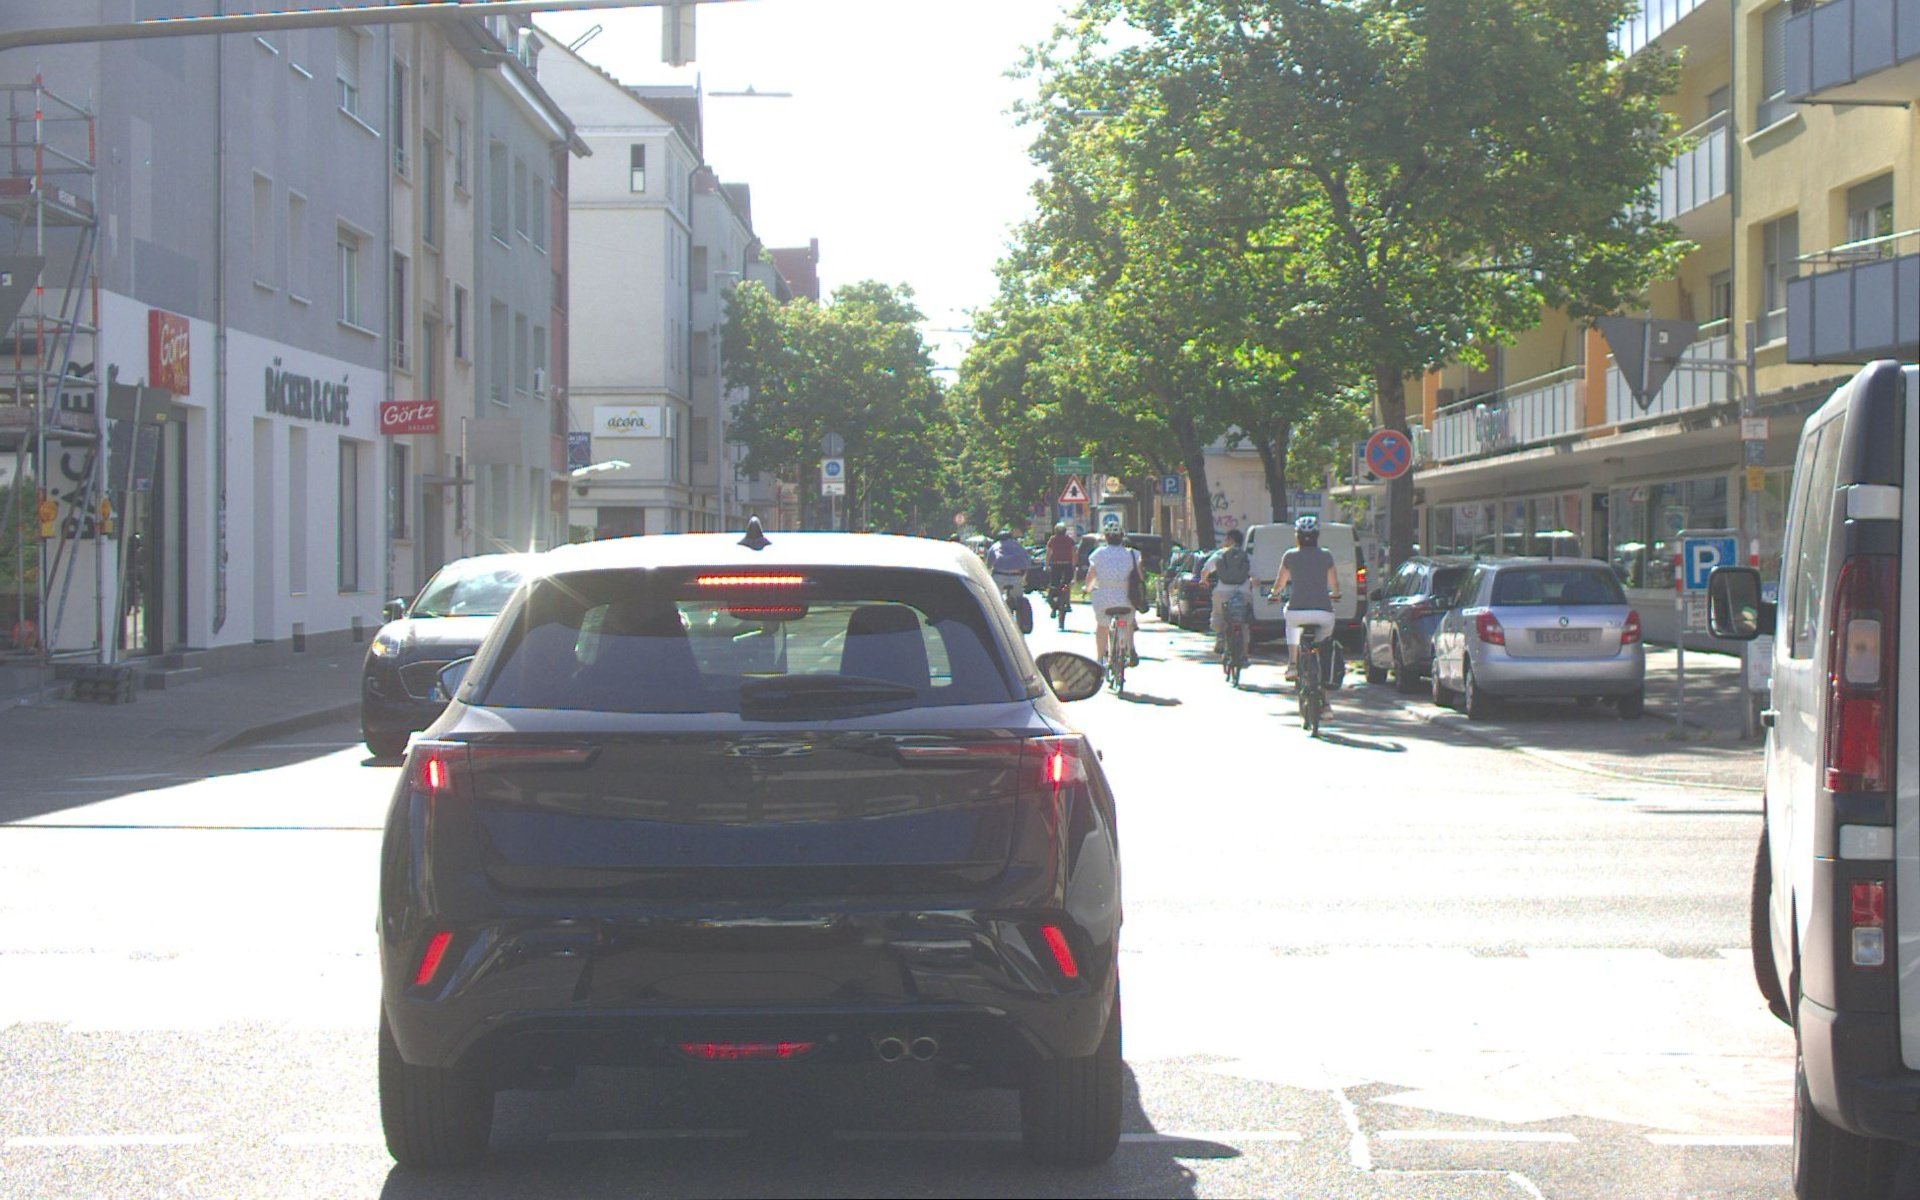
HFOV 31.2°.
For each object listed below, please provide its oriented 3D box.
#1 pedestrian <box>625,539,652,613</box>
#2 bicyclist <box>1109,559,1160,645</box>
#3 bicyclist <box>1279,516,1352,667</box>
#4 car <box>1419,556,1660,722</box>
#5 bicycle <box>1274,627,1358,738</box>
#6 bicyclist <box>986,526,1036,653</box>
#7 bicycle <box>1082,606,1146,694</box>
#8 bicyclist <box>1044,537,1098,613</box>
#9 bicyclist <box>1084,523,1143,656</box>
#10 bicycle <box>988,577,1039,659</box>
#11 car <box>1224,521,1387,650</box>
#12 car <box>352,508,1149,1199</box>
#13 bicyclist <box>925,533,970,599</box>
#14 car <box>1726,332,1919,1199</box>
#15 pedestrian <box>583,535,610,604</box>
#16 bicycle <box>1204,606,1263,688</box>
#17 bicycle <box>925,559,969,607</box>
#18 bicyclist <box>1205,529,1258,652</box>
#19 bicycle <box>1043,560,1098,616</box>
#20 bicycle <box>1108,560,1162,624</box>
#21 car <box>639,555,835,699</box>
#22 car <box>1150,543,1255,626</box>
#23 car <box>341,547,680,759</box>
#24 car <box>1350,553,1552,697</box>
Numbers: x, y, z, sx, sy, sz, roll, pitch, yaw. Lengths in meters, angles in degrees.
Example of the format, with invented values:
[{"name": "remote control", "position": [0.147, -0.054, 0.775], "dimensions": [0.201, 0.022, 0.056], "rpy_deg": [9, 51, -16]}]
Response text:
[{"name": "pedestrian", "position": [-6.924, -0.516, 73.973], "dimensions": [0.577, 1.577, 0.708], "rpy_deg": [0, 1, -5]}, {"name": "bicyclist", "position": [2.450, 0.025, 48.243], "dimensions": [0.692, 1.189, 0.595], "rpy_deg": [0, 1, 1]}, {"name": "bicyclist", "position": [3.004, -0.078, 29.092], "dimensions": [0.547, 1.257, 0.803], "rpy_deg": [0, 1, 1]}, {"name": "car", "position": [5.490, 0.335, 32.927], "dimensions": [1.712, 1.478, 3.480], "rpy_deg": [0, 1, 0]}, {"name": "bicycle", "position": [2.999, 0.682, 29.088], "dimensions": [0.547, 0.863, 1.876], "rpy_deg": [0, 1, 1]}, {"name": "bicyclist", "position": [0.673, -0.147, 45.789], "dimensions": [0.632, 1.663, 1.050], "rpy_deg": [-1, 1, -1]}, {"name": "bicycle", "position": [1.610, 0.516, 36.132], "dimensions": [0.620, 0.863, 1.876], "rpy_deg": [0, 1, 1]}, {"name": "bicyclist", "position": [1.973, -0.458, 61.305], "dimensions": [0.856, 1.310, 1.210], "rpy_deg": [2, 1, -1]}, {"name": "bicyclist", "position": [1.613, -0.120, 36.135], "dimensions": [0.588, 1.378, 0.823], "rpy_deg": [0, 1, 1]}, {"name": "bicycle", "position": [0.707, 0.230, 45.963], "dimensions": [0.632, 1.037, 1.795], "rpy_deg": [-1, 1, -1]}, {"name": "car", "position": [5.107, -0.258, 51.427], "dimensions": [2.046, 1.840, 4.584], "rpy_deg": [0, 1, 1]}, {"name": "car", "position": [-0.483, 0.550, 9.614], "dimensions": [1.762, 1.553, 4.000], "rpy_deg": [0, 1, -1]}, {"name": "bicyclist", "position": [-0.263, -0.706, 71.074], "dimensions": [0.856, 1.310, 1.210], "rpy_deg": [2, 1, -1]}, {"name": "car", "position": [3.122, 0.441, 9.151], "dimensions": [1.969, 1.933, 5.053], "rpy_deg": [2, 1, 11]}, {"name": "pedestrian", "position": [-7.821, -0.661, 74.005], "dimensions": [0.577, 1.462, 0.703], "rpy_deg": [0, 1, -5]}, {"name": "bicycle", "position": [3.085, 0.525, 38.844], "dimensions": [0.547, 0.863, 1.876], "rpy_deg": [0, 1, 1]}, {"name": "bicycle", "position": [-0.272, -0.361, 71.094], "dimensions": [0.856, 0.941, 2.307], "rpy_deg": [2, 1, -1]}, {"name": "bicyclist", "position": [3.076, -0.114, 39.000], "dimensions": [0.547, 1.378, 0.823], "rpy_deg": [0, 1, 1]}, {"name": "bicycle", "position": [1.964, -0.222, 61.398], "dimensions": [0.856, 0.941, 2.307], "rpy_deg": [2, 1, -1]}, {"name": "bicycle", "position": [2.447, -0.126, 48.272], "dimensions": [0.691, 0.863, 1.876], "rpy_deg": [0, 1, 1]}, {"name": "car", "position": [-2.377, 0.253, 37.636], "dimensions": [1.805, 1.408, 4.426], "rpy_deg": [-2, 1, 0]}, {"name": "car", "position": [4.473, -0.306, 63.875], "dimensions": [1.712, 1.478, 3.381], "rpy_deg": [0, 1, 0]}, {"name": "car", "position": [-3.501, 0.377, 27.486], "dimensions": [1.592, 1.560, 4.088], "rpy_deg": [-1, 0, 9]}, {"name": "car", "position": [5.283, 0.235, 37.328], "dimensions": [1.712, 1.478, 3.381], "rpy_deg": [0, 1, 0]}]
